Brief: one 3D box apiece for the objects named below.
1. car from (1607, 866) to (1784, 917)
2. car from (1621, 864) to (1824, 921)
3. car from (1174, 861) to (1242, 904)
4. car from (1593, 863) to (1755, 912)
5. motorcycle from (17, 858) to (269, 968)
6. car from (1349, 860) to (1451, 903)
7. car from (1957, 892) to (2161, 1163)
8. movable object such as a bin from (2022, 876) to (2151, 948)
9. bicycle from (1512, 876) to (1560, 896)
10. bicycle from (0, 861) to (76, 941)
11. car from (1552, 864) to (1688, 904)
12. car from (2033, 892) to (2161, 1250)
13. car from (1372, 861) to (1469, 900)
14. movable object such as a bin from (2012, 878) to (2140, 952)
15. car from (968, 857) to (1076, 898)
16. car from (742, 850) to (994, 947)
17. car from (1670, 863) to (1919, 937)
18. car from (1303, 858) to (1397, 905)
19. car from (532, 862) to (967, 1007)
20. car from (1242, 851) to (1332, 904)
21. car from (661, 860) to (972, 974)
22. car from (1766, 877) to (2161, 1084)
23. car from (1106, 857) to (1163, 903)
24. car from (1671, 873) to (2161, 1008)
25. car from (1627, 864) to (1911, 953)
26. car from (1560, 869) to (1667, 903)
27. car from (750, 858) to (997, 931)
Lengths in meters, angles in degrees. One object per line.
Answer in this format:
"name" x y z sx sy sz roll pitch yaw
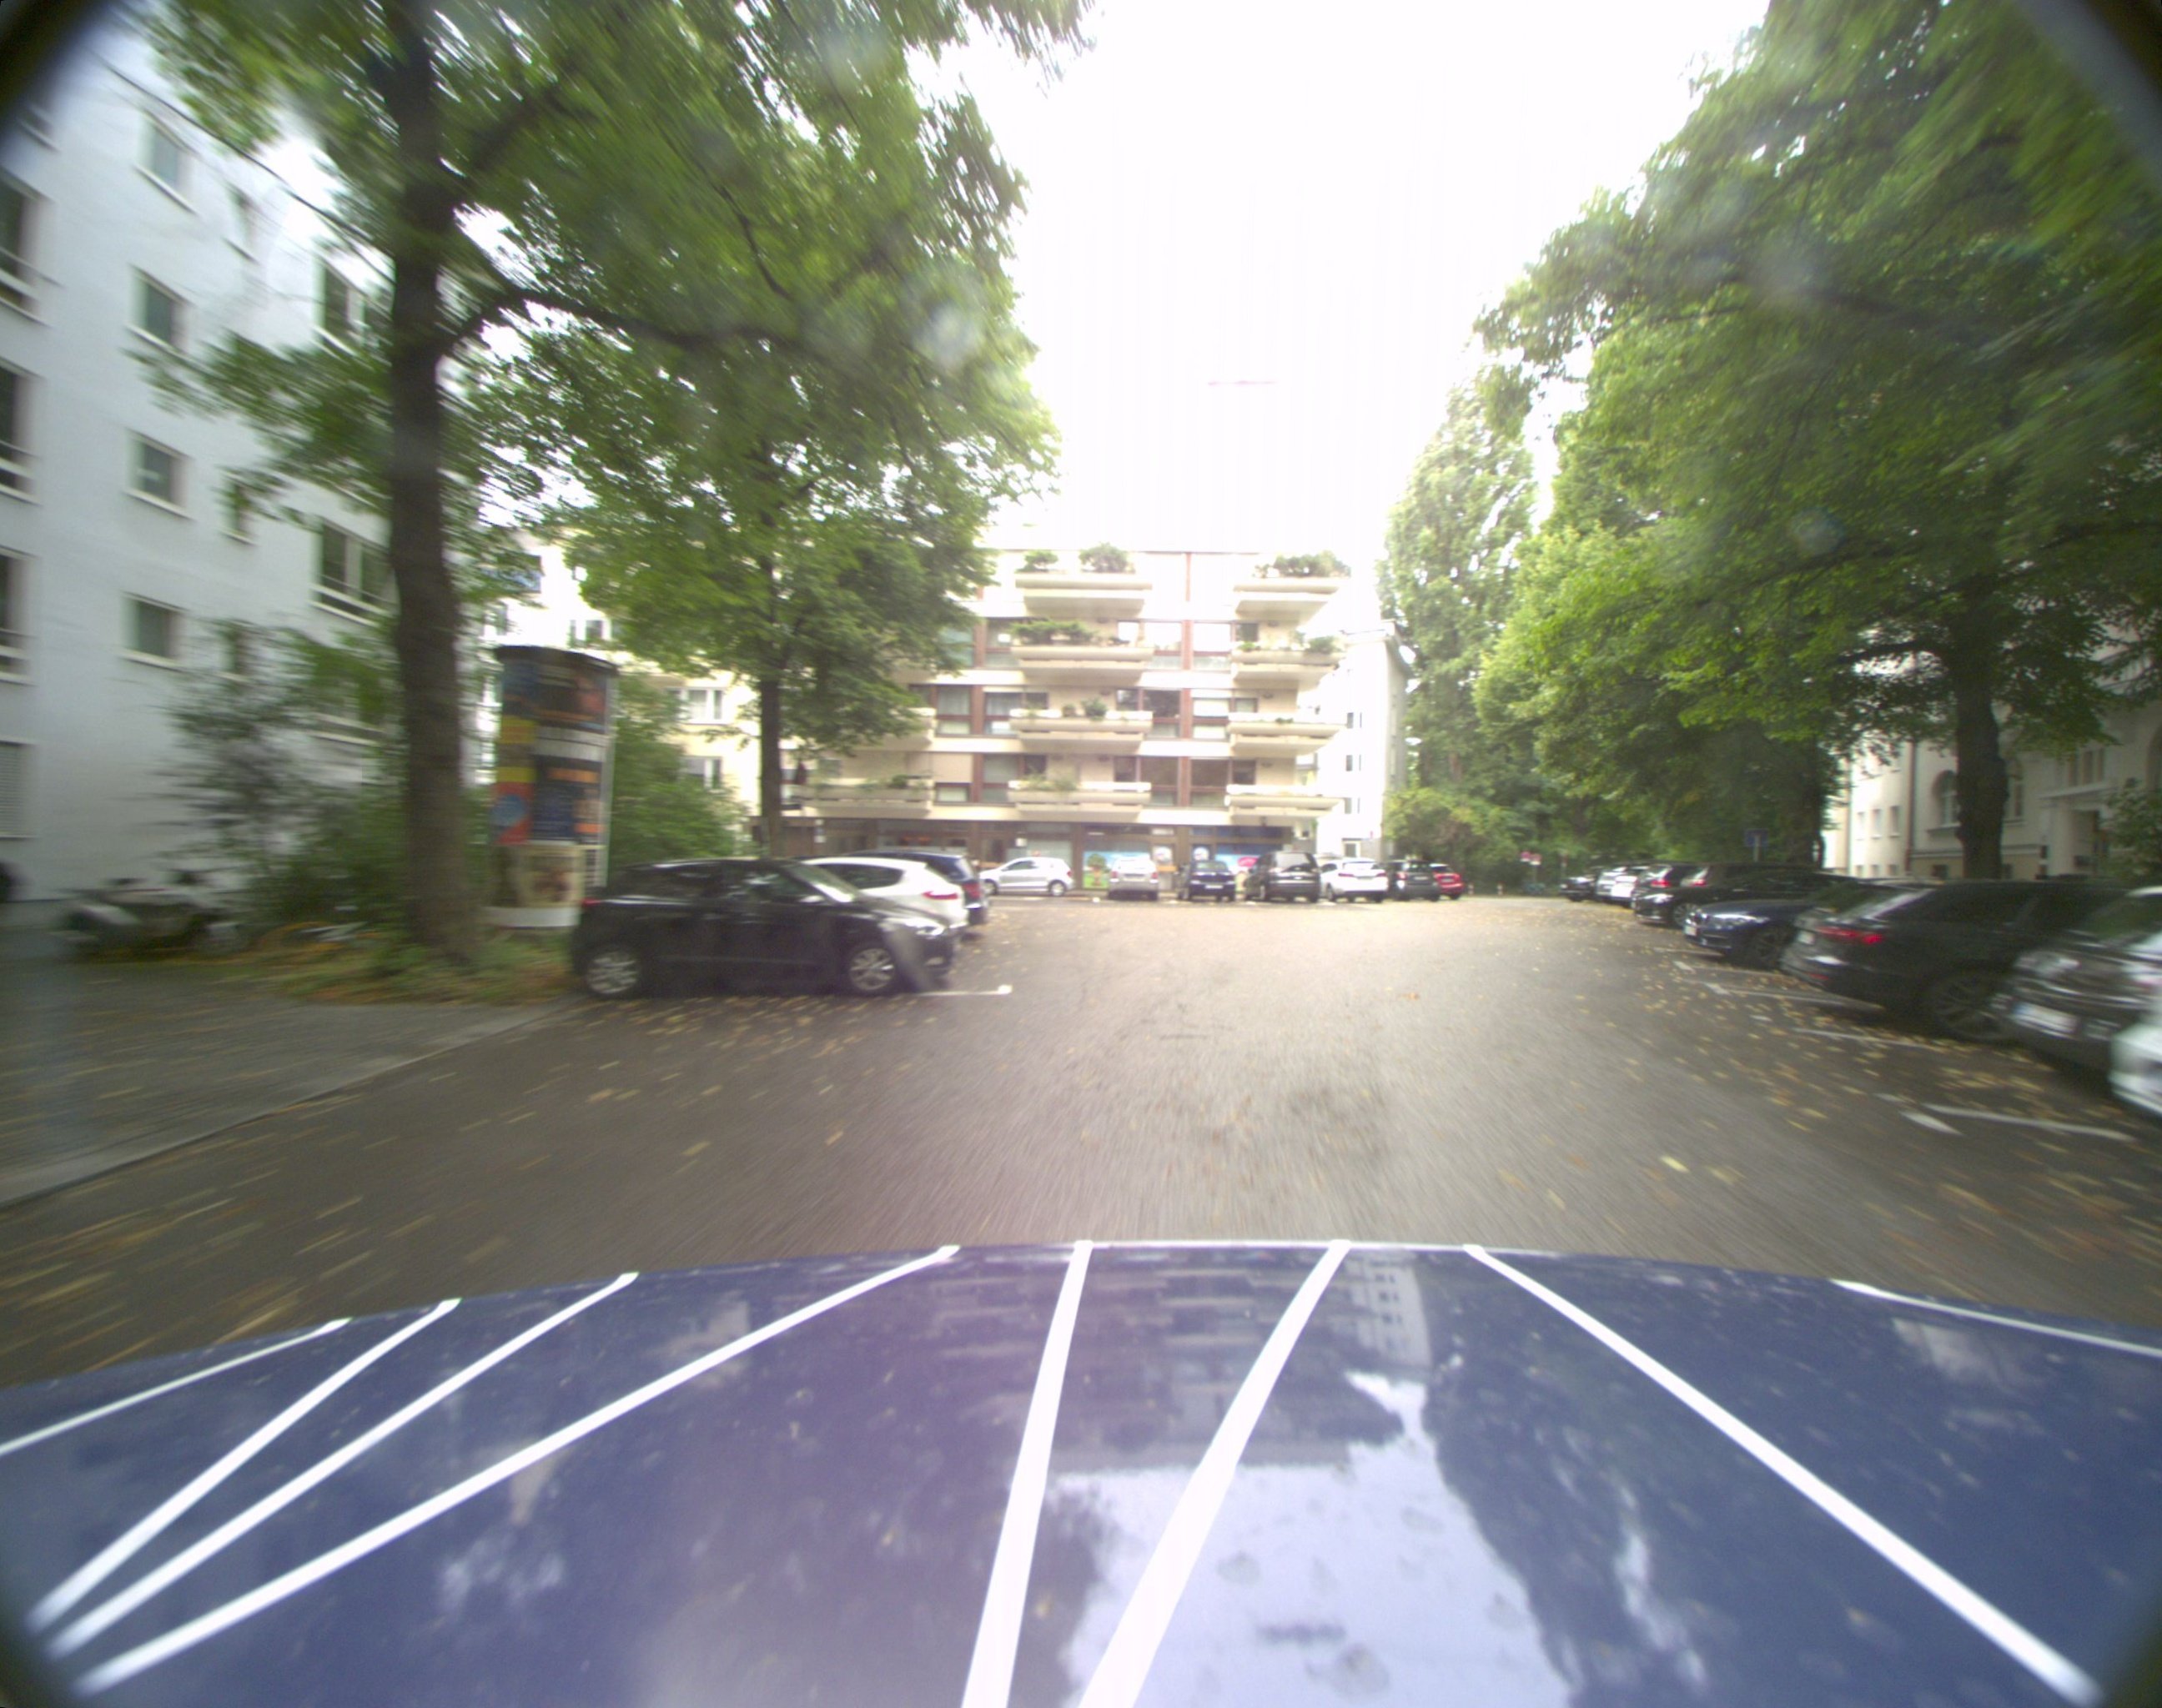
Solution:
"car" 18.903 1.131 23.519 3.996 1.423 1.724 1 1 3
"car" 17.857 1.035 21.330 3.994 1.423 1.798 1 1 7
"car" 4.344 0.985 26.581 1.716 1.359 4.073 1 -2 0
"car" 20.212 1.122 26.041 3.996 1.501 1.875 1 1 3
"motorcycle" -10.848 0.666 8.858 1.808 1.191 0.690 1 1 -12
"car" 11.877 1.049 28.603 1.835 1.470 4.000 1 -3 -6
"car" 7.941 1.143 4.089 3.738 1.417 1.837 5 2 30
"movable object such as a bin" 20.229 1.136 15.325 1.369 1.340 0.716 1 1 28
"bicycle" 27.880 1.942 46.605 2.463 1.112 0.827 1 1 32
"bicycle" -14.840 0.646 10.185 0.539 1.017 1.700 4 1 -6
"car" 20.323 1.115 28.729 4.002 1.393 2.060 1 1 -14
"car" 6.533 1.116 2.181 4.272 1.505 1.807 5 2 29
"car" 13.835 1.039 31.192 1.756 1.390 3.996 1 1 -8
"movable object such as a bin" 19.954 1.194 15.286 1.153 1.341 1.155 0 1 26
"car" -2.102 0.855 27.961 3.830 1.413 1.566 1 -2 -1
"car" -3.576 0.744 13.370 3.983 1.546 1.755 1 1 -5
"car" 17.152 1.043 18.552 4.014 1.521 1.848 1 1 23
"car" 9.246 0.969 26.466 1.834 1.470 4.001 1 -3 -1
"car" -3.432 0.833 8.507 4.094 1.386 1.734 1 1 -4
"car" 6.978 0.822 26.246 1.901 1.673 4.235 1 -2 -1
"car" -3.586 0.858 10.986 3.948 1.439 1.825 1 1 -9
"car" 8.879 1.068 6.504 4.150 1.417 1.868 4 2 32
"car" 1.791 0.941 26.715 1.720 1.446 4.243 1 -3 0
"car" 11.253 1.070 10.679 4.331 1.375 1.848 2 1 25
"car" 14.763 1.092 16.687 4.275 1.459 1.713 4 3 31
"car" 24.877 1.492 35.550 4.000 1.469 1.722 1 1 -9
"car" -4.211 0.829 16.031 4.734 1.369 1.958 1 1 -9
